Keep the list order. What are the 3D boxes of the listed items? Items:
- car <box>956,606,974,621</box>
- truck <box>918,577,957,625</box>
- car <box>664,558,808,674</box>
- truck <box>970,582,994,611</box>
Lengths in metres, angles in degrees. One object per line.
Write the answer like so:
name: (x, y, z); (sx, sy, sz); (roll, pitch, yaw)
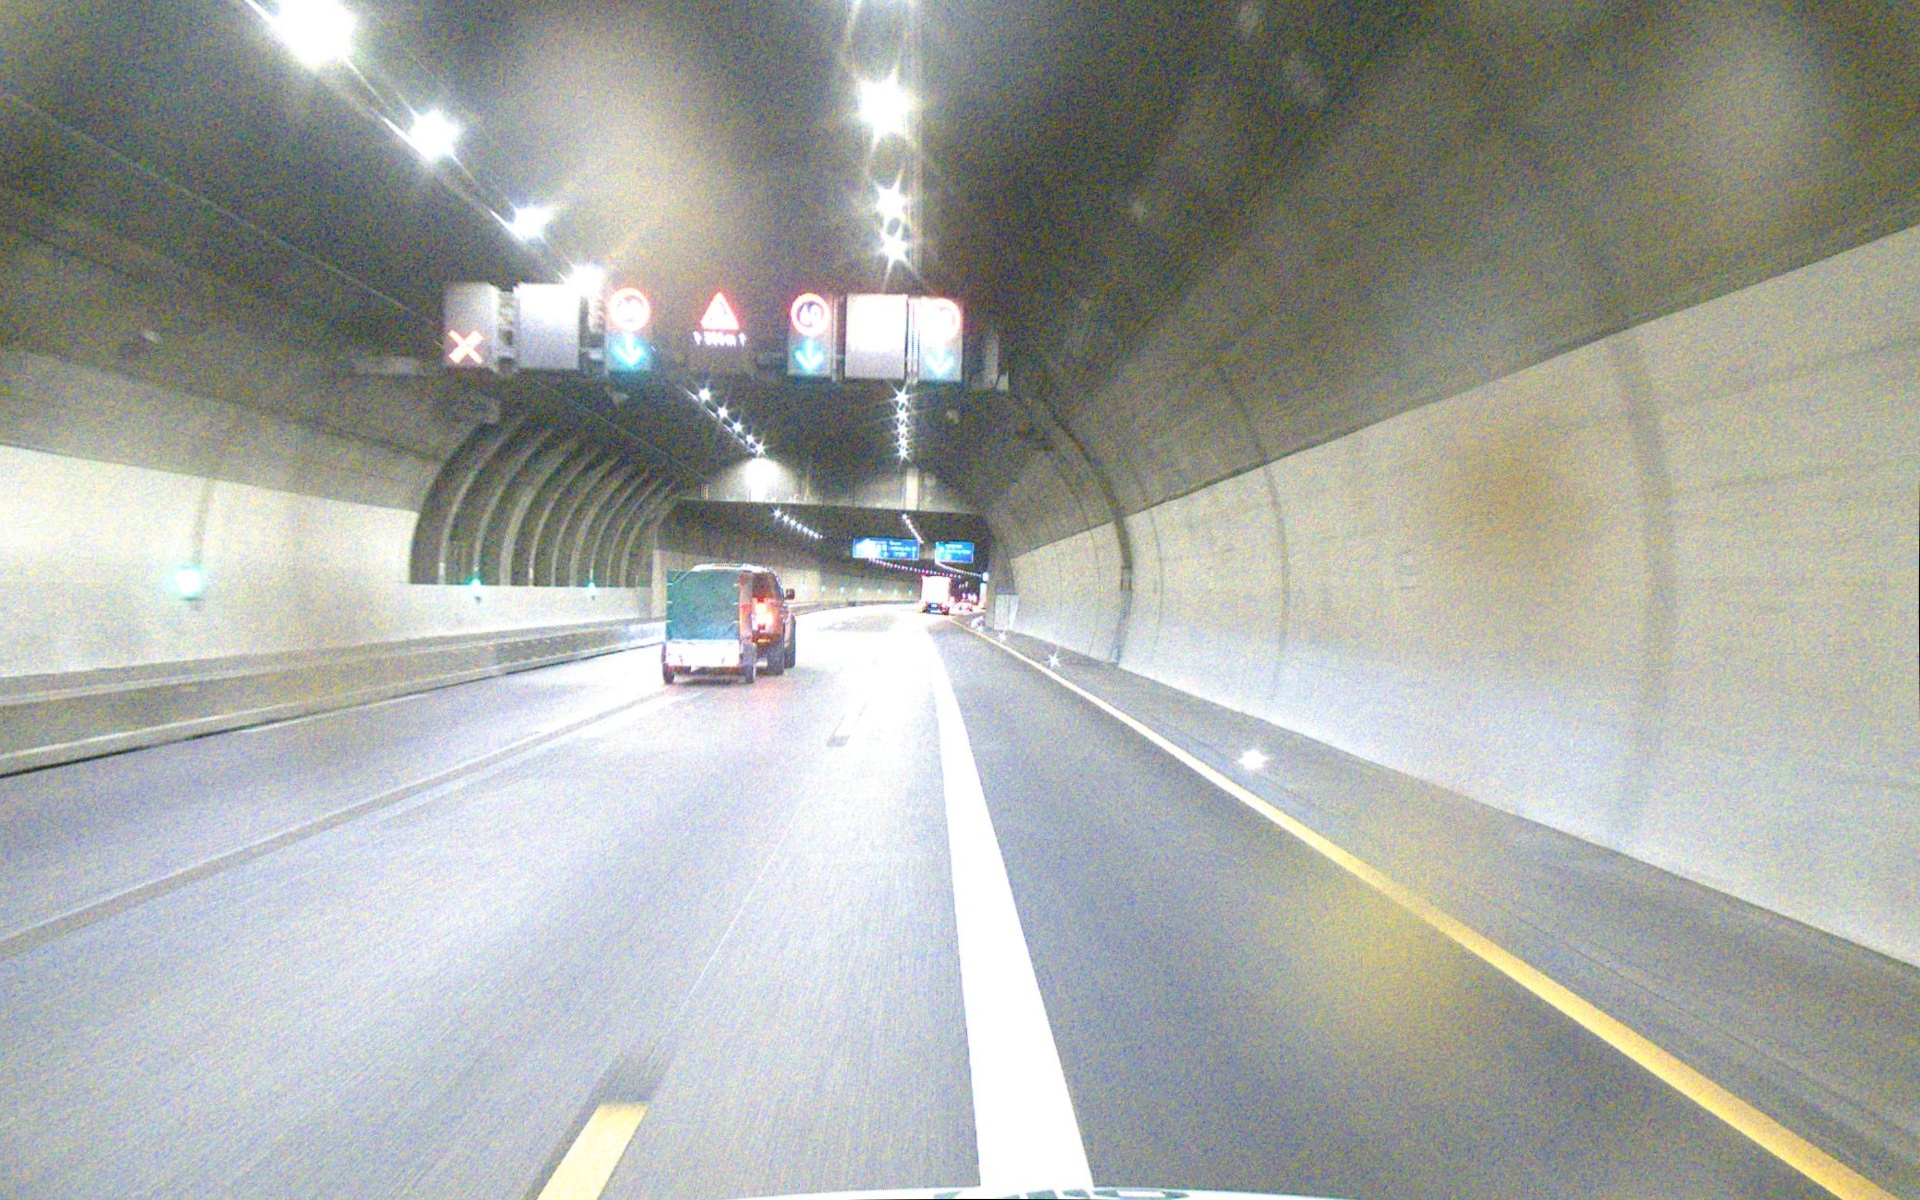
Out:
car: (0.678, 1.849, 222.498); (1.952, 1.928, 5.535); (2, 0, 4)
truck: (-2.242, 0.002, 162.270); (3.404, 4.391, 10.948); (2, 1, -2)
car: (-4.096, 0.263, 31.105); (1.953, 1.928, 5.452); (2, 0, -1)
truck: (3.424, -0.607, 260.739); (3.404, 4.391, 10.949); (1, 0, -1)
